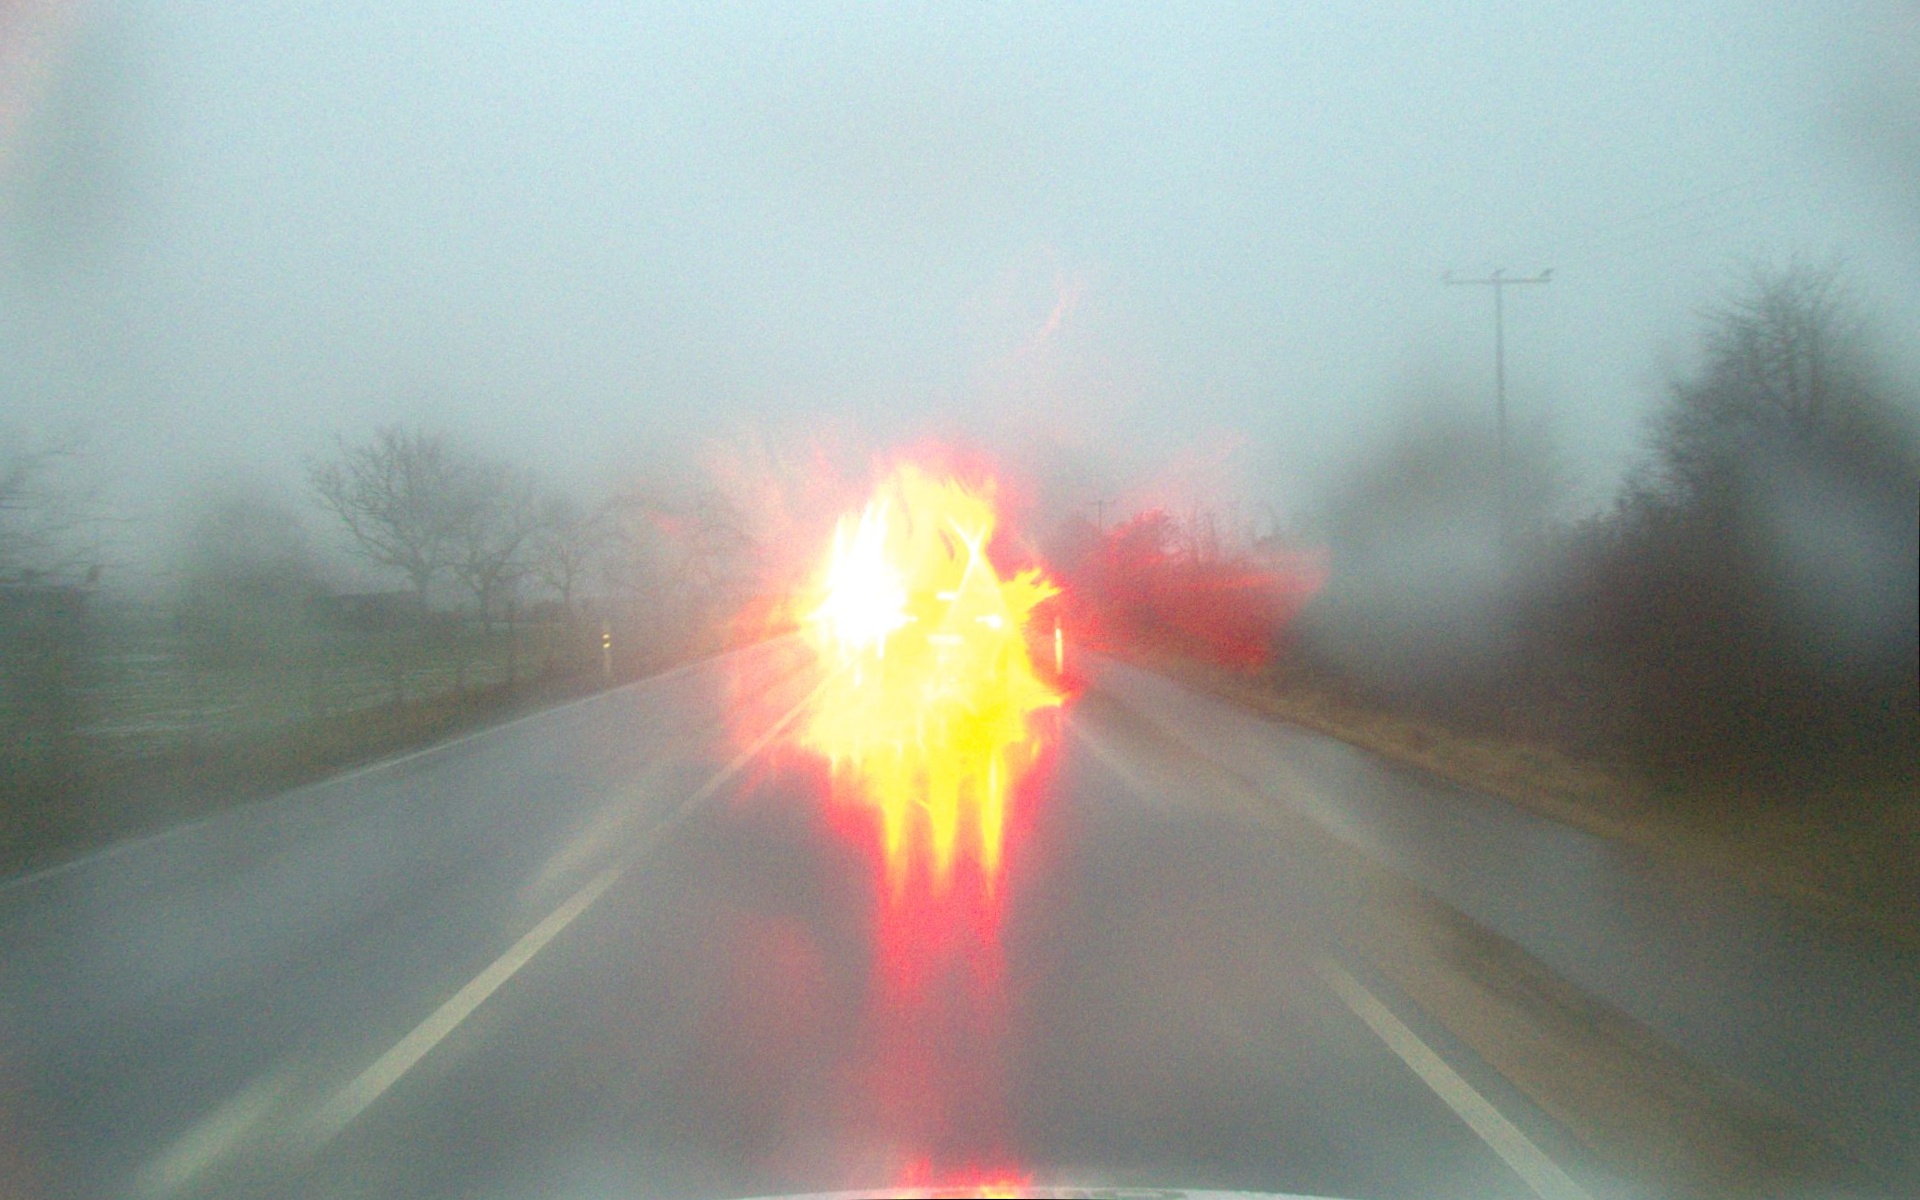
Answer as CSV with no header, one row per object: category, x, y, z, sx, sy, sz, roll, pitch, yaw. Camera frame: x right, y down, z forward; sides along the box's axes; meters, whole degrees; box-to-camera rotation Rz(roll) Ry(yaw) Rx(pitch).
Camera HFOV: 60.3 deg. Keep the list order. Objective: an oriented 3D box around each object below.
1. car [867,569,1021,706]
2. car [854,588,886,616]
car,-0.252,0.498,24.924,2.077,1.852,4.979,0,0,-1
car,-5.358,0.087,98.255,1.818,1.543,4.513,-2,0,-3
